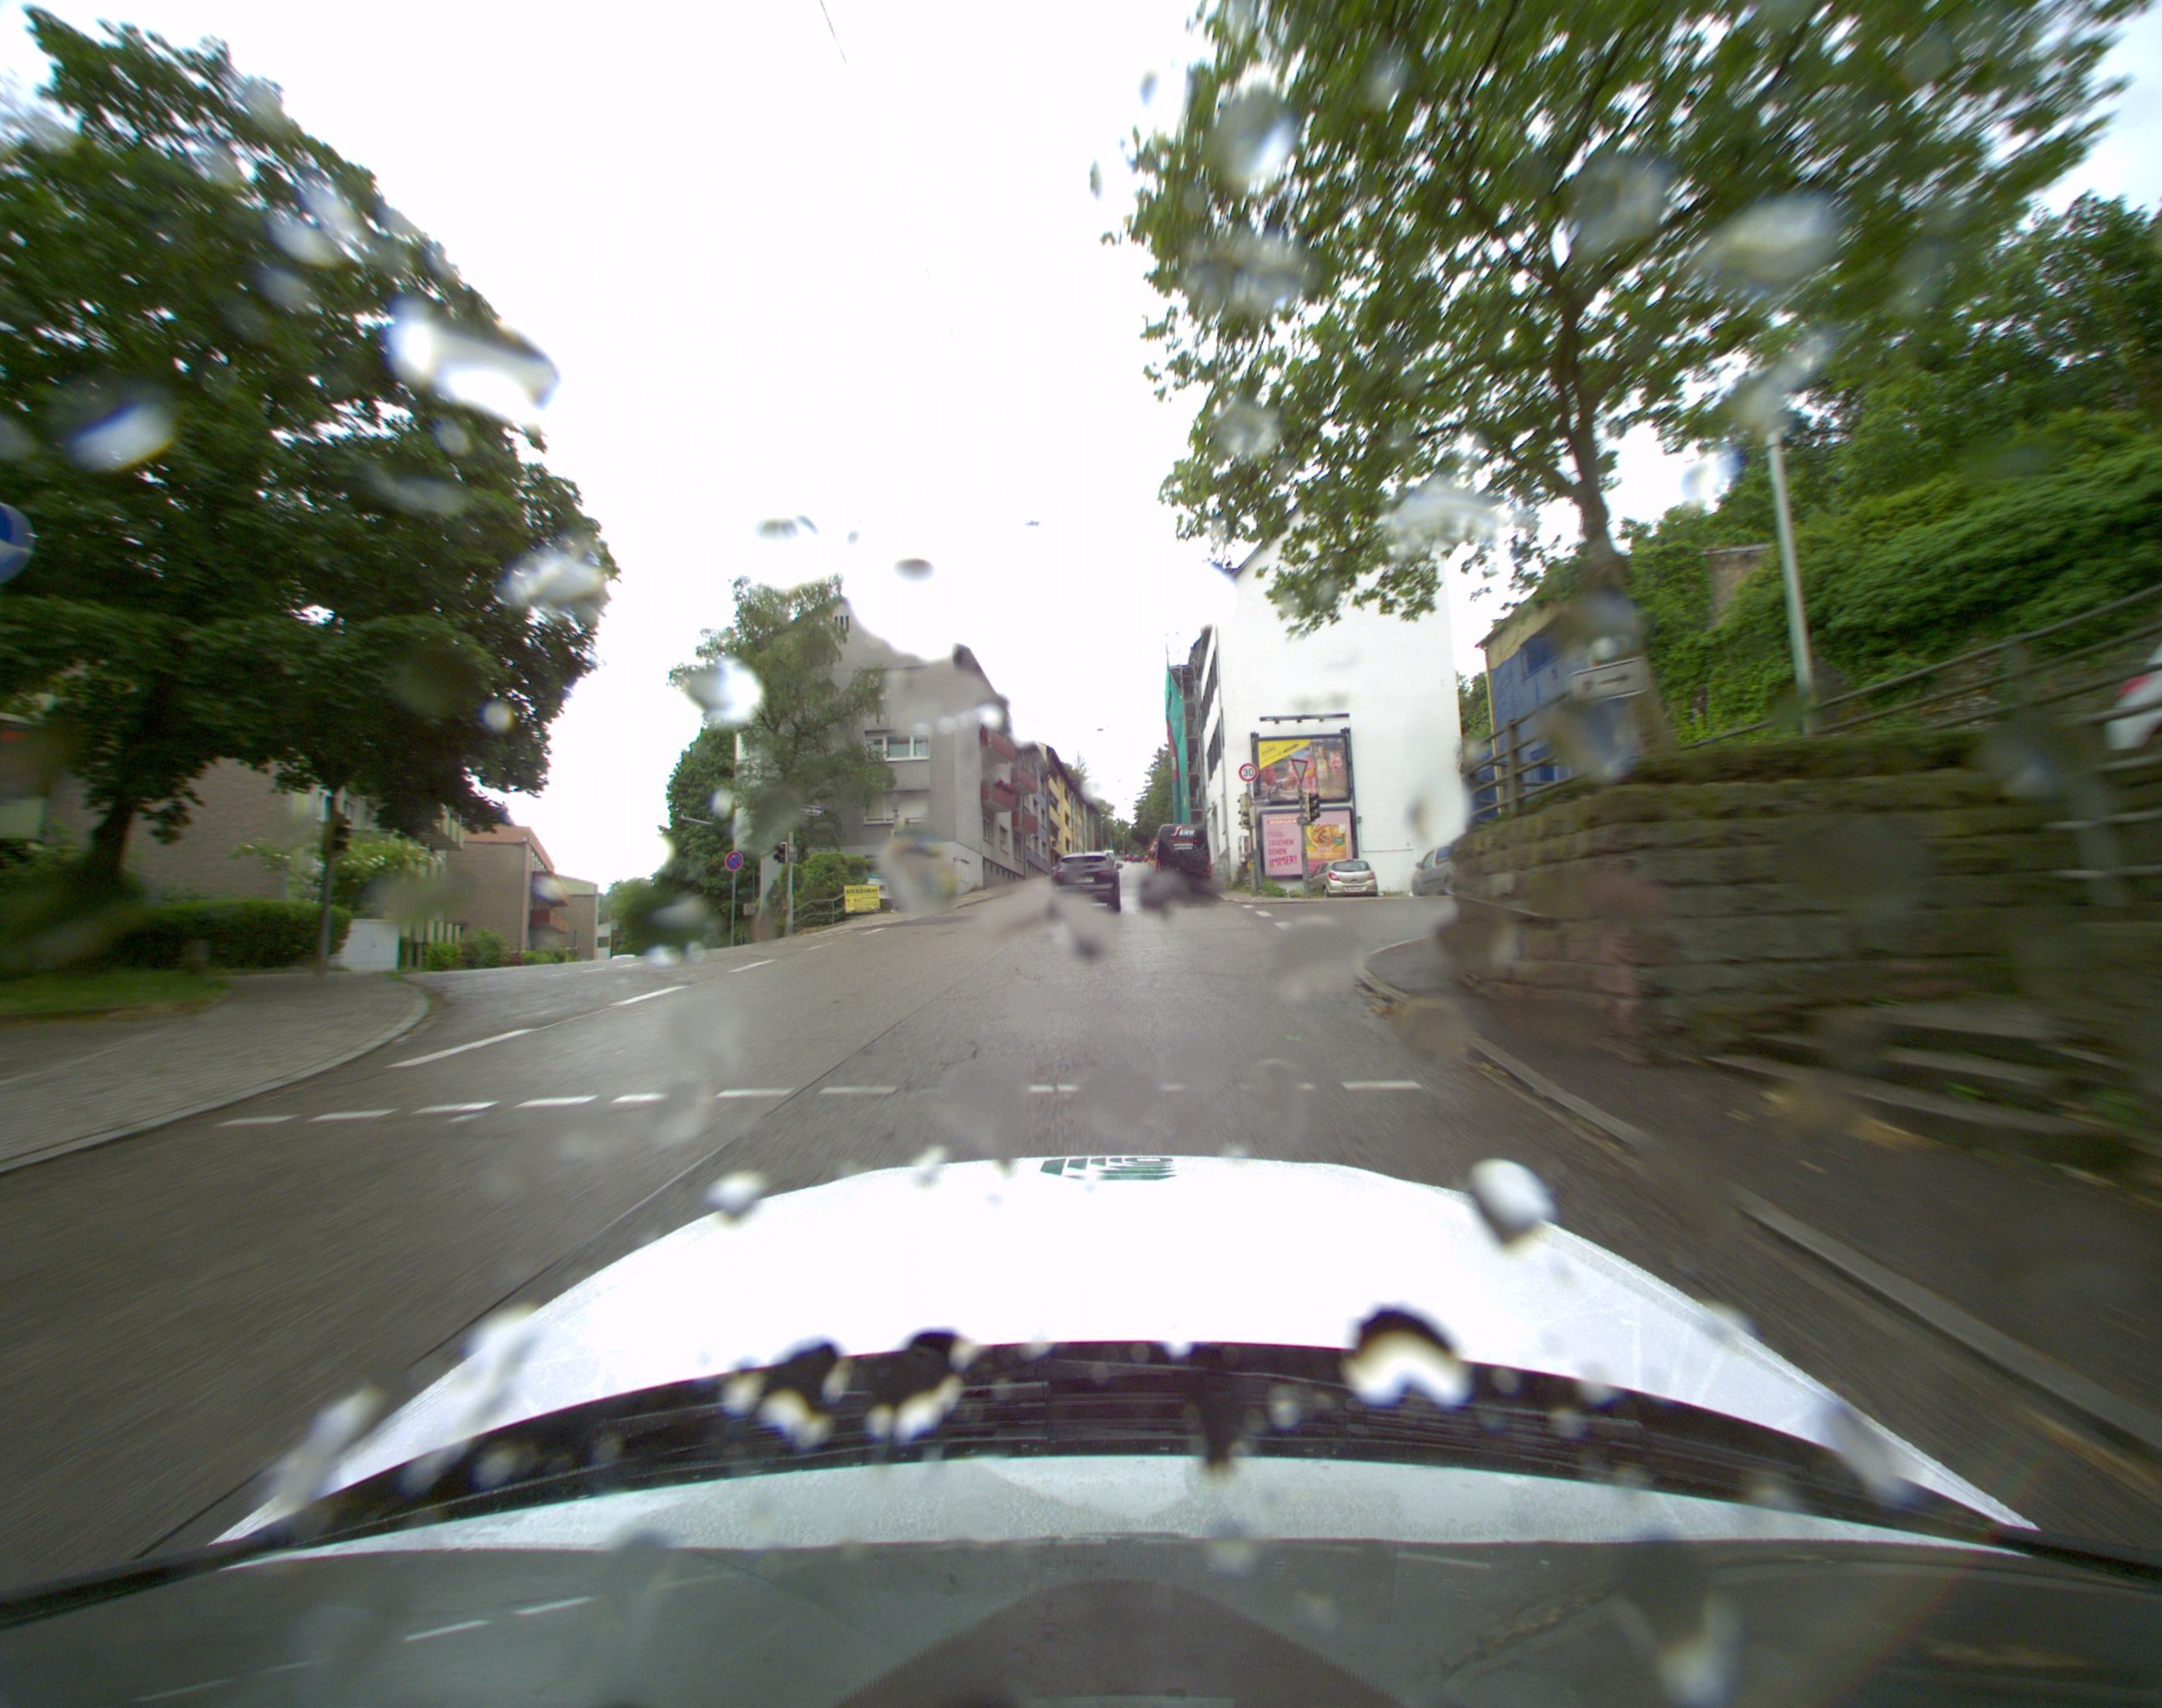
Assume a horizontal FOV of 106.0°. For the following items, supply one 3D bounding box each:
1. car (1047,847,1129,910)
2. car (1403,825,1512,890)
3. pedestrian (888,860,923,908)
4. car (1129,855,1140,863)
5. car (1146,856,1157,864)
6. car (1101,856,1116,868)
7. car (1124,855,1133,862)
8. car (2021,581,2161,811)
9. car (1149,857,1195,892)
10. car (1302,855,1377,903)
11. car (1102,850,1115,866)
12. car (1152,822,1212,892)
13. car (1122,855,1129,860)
[{"bbox_3d":[0.300,0.600,22.467,1.984,1.559,4.005,-1,0,4],"label":"car"},{"bbox_3d":[11.966,0.187,26.214,1.721,1.913,4.244,-1,-2,3],"label":"car"},{"bbox_3d":[-5.719,0.975,26.587,0.866,1.541,1.087,-1,-2,1],"label":"pedestrian"},{"bbox_3d":[10.538,0.966,160.167,2.066,1.559,4.003,-2,0,3],"label":"car"},{"bbox_3d":[14.970,1.240,173.077,2.067,1.559,4.001,-2,0,1],"label":"car"},{"bbox_3d":[3.954,1.089,118.091,1.982,1.585,4.309,-2,0,3],"label":"car"},{"bbox_3d":[11.430,1.001,194.398,2.066,1.559,4.003,-2,0,3],"label":"car"},{"bbox_3d":[8.557,-1.429,4.483,1.625,1.494,4.345,-1,-9,1],"label":"car"},{"bbox_3d":[4.181,0.911,38.047,1.984,1.512,4.342,-1,-1,4],"label":"car"},{"bbox_3d":[8.889,0.809,28.314,1.555,1.484,4.004,-1,0,4],"label":"car"},{"bbox_3d":[4.532,0.587,133.950,1.982,2.475,5.789,-2,0,3],"label":"car"},{"bbox_3d":[3.781,0.213,31.411,1.984,2.414,5.842,-1,-2,4],"label":"car"},{"bbox_3d":[13.445,1.155,248.541,2.066,1.559,4.003,-2,0,3],"label":"car"}]
